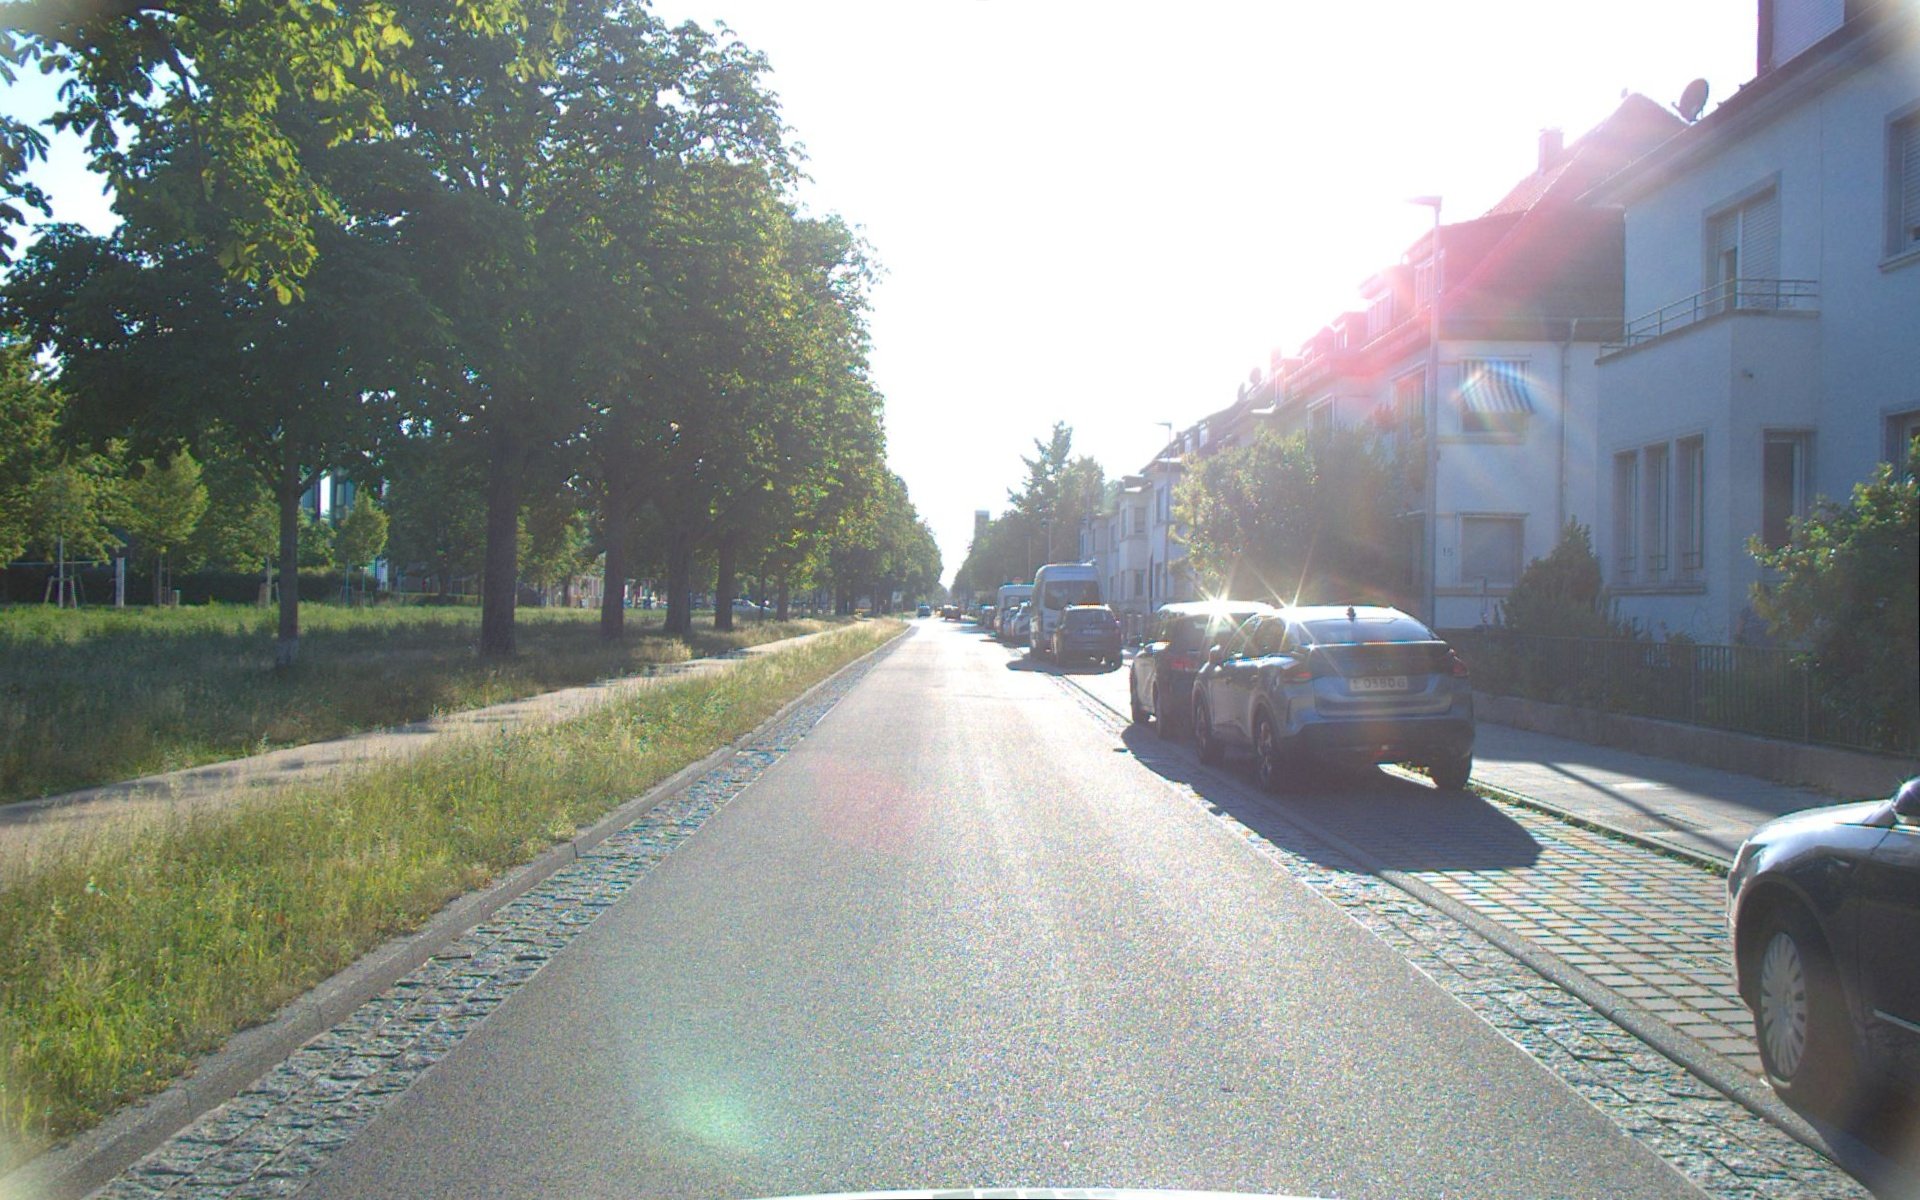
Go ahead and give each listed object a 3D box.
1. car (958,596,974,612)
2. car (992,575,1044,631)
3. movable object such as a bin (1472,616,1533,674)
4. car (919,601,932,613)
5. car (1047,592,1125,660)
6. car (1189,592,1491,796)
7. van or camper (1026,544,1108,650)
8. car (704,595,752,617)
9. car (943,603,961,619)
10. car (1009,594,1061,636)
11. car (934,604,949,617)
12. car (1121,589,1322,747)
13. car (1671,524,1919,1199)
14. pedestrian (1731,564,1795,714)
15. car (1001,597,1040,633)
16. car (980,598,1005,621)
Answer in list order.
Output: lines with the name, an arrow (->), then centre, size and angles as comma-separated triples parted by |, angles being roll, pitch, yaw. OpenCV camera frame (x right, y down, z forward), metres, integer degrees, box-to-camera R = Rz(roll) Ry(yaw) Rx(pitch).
car -> 0.639, 0.361, 166.209 | 1.616, 1.557, 3.851 | 0, 0, 1
car -> 2.713, 0.128, 78.714 | 2.084, 2.577, 5.186 | 0, 0, -2
movable object such as a bin -> 10.861, 0.890, 33.140 | 0.964, 1.119, 0.790 | 2, -1, 3
car -> -4.791, 0.954, 230.169 | 1.825, 1.625, 3.869 | 2, -1, -1
car -> 3.168, 0.640, 42.124 | 1.630, 1.621, 4.085 | -1, 0, 0
car -> 3.351, 0.763, 15.415 | 1.683, 1.601, 4.208 | -1, 0, -2
van or camper -> 3.059, -0.043, 48.389 | 1.904, 2.826, 5.939 | 2, -1, 0
car -> -21.236, 0.539, 151.228 | 4.266, 1.795, 1.996 | 2, -1, -9
car -> -0.922, 1.244, 184.625 | 1.825, 1.625, 3.892 | 2, -1, -1
car -> 3.021, 0.583, 67.273 | 1.800, 1.664, 4.130 | 0, 0, -2
car -> -2.396, 1.350, 216.723 | 1.825, 1.625, 3.869 | 2, -1, -1
car -> 3.223, 0.768, 21.247 | 1.795, 1.714, 4.415 | 3, 0, 0
car -> 3.432, 0.684, 3.630 | 1.757, 1.802, 4.472 | -1, 0, -1
pedestrian -> 8.826, 0.423, 18.194 | 0.583, 1.606, 0.629 | 2, -1, 25
car -> 2.641, 0.646, 72.628 | 1.616, 1.557, 3.851 | 0, 0, 1
car -> 2.145, 0.623, 110.408 | 1.616, 1.557, 3.851 | 0, 0, 1
